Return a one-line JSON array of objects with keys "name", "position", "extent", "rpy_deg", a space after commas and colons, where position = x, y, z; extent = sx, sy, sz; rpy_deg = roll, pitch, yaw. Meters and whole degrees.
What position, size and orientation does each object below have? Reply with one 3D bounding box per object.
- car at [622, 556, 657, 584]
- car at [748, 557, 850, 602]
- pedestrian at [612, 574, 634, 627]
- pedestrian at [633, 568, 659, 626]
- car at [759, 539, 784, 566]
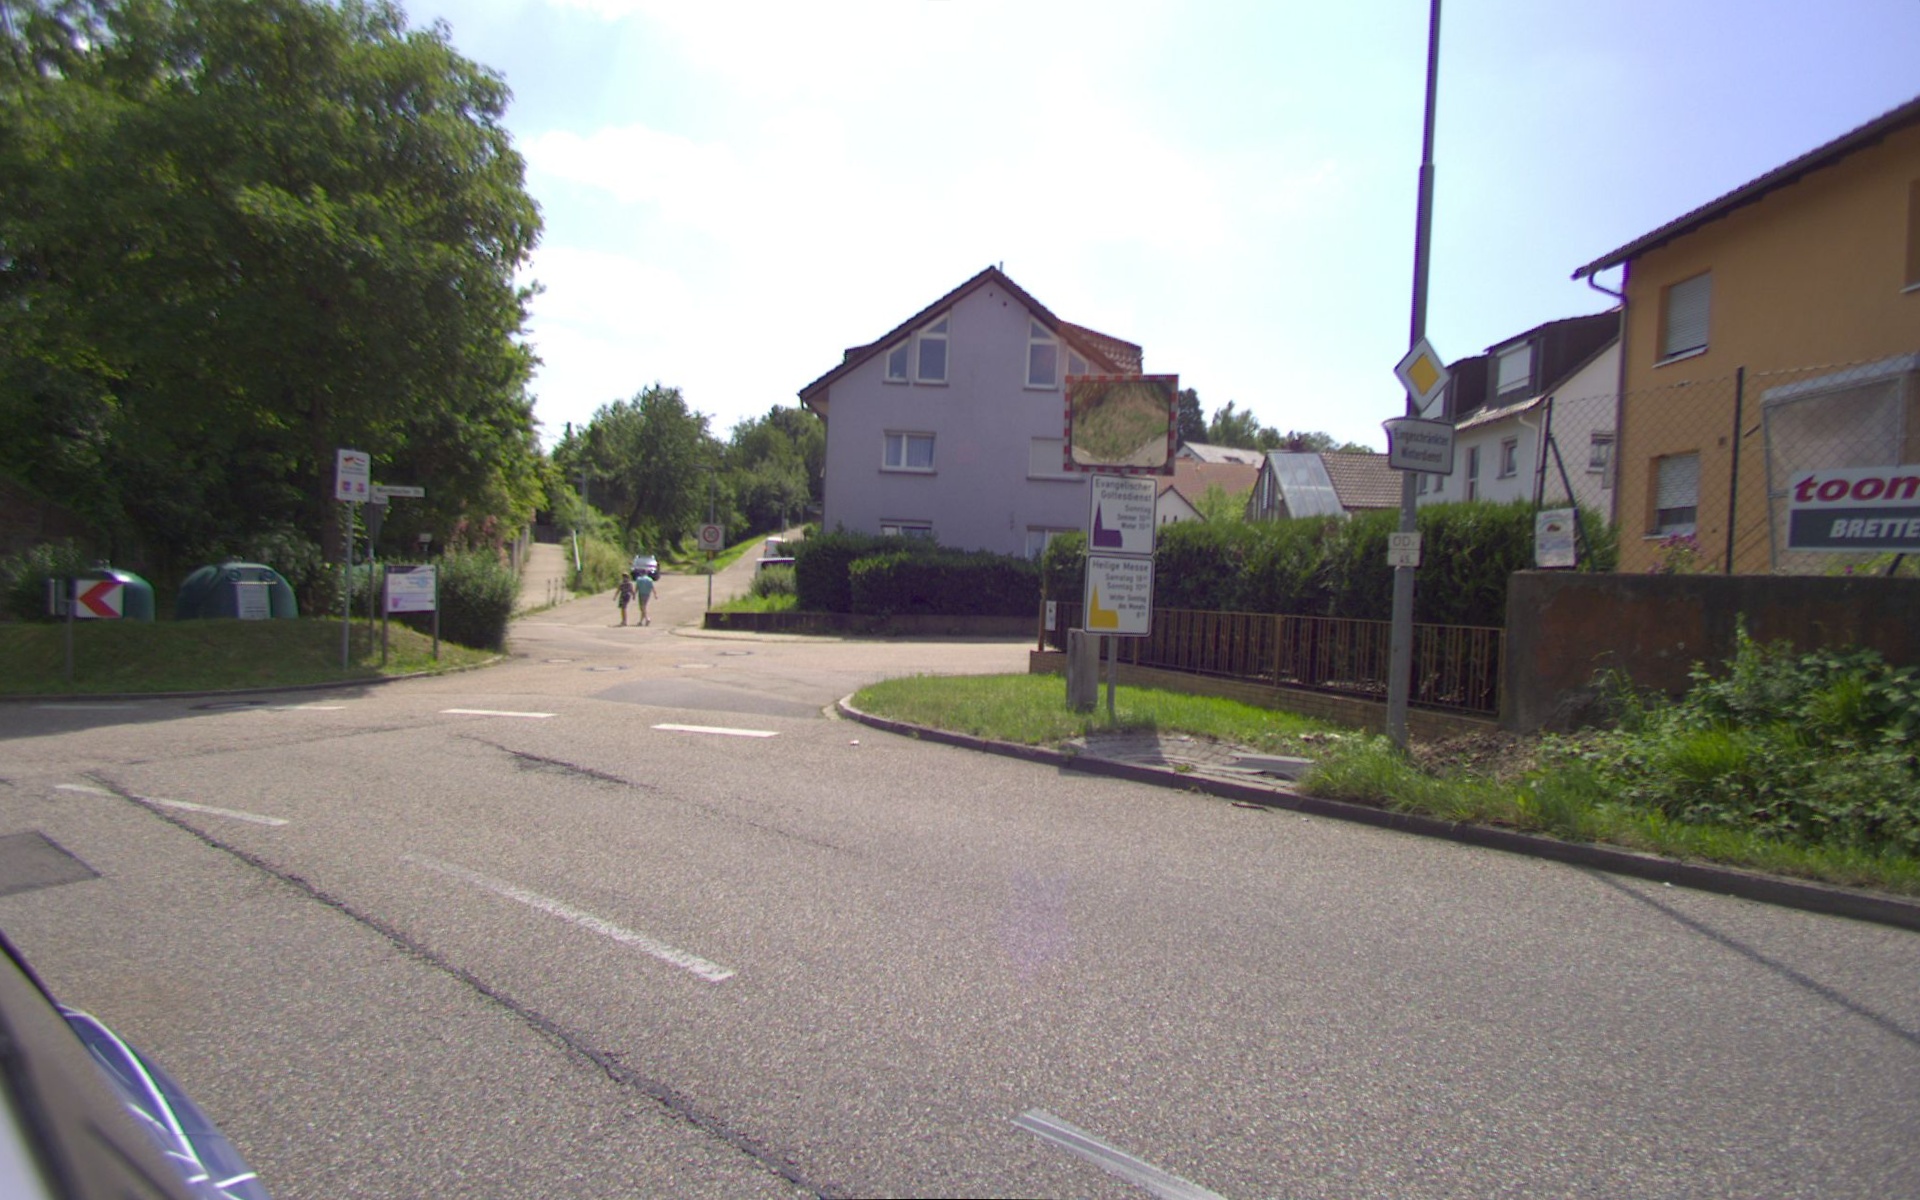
[{"name": "car", "position": [-20.108, -1.881, 63.620], "extent": [1.825, 1.655, 4.404], "rpy_deg": [-1, 1, -14]}, {"name": "car", "position": [-7.708, -0.972, 48.828], "extent": [4.644, 2.029, 2.001], "rpy_deg": [-1, 1, -2]}, {"name": "pedestrian", "position": [-10.180, 0.003, 30.541], "extent": [0.564, 1.566, 0.601], "rpy_deg": [-1, 2, -21]}, {"name": "pedestrian", "position": [-9.659, -0.102, 31.100], "extent": [0.675, 1.725, 0.792], "rpy_deg": [-1, 2, -21]}, {"name": "car", "position": [-15.724, -3.924, 84.339], "extent": [1.967, 2.029, 4.723], "rpy_deg": [-1, 1, -11]}]
